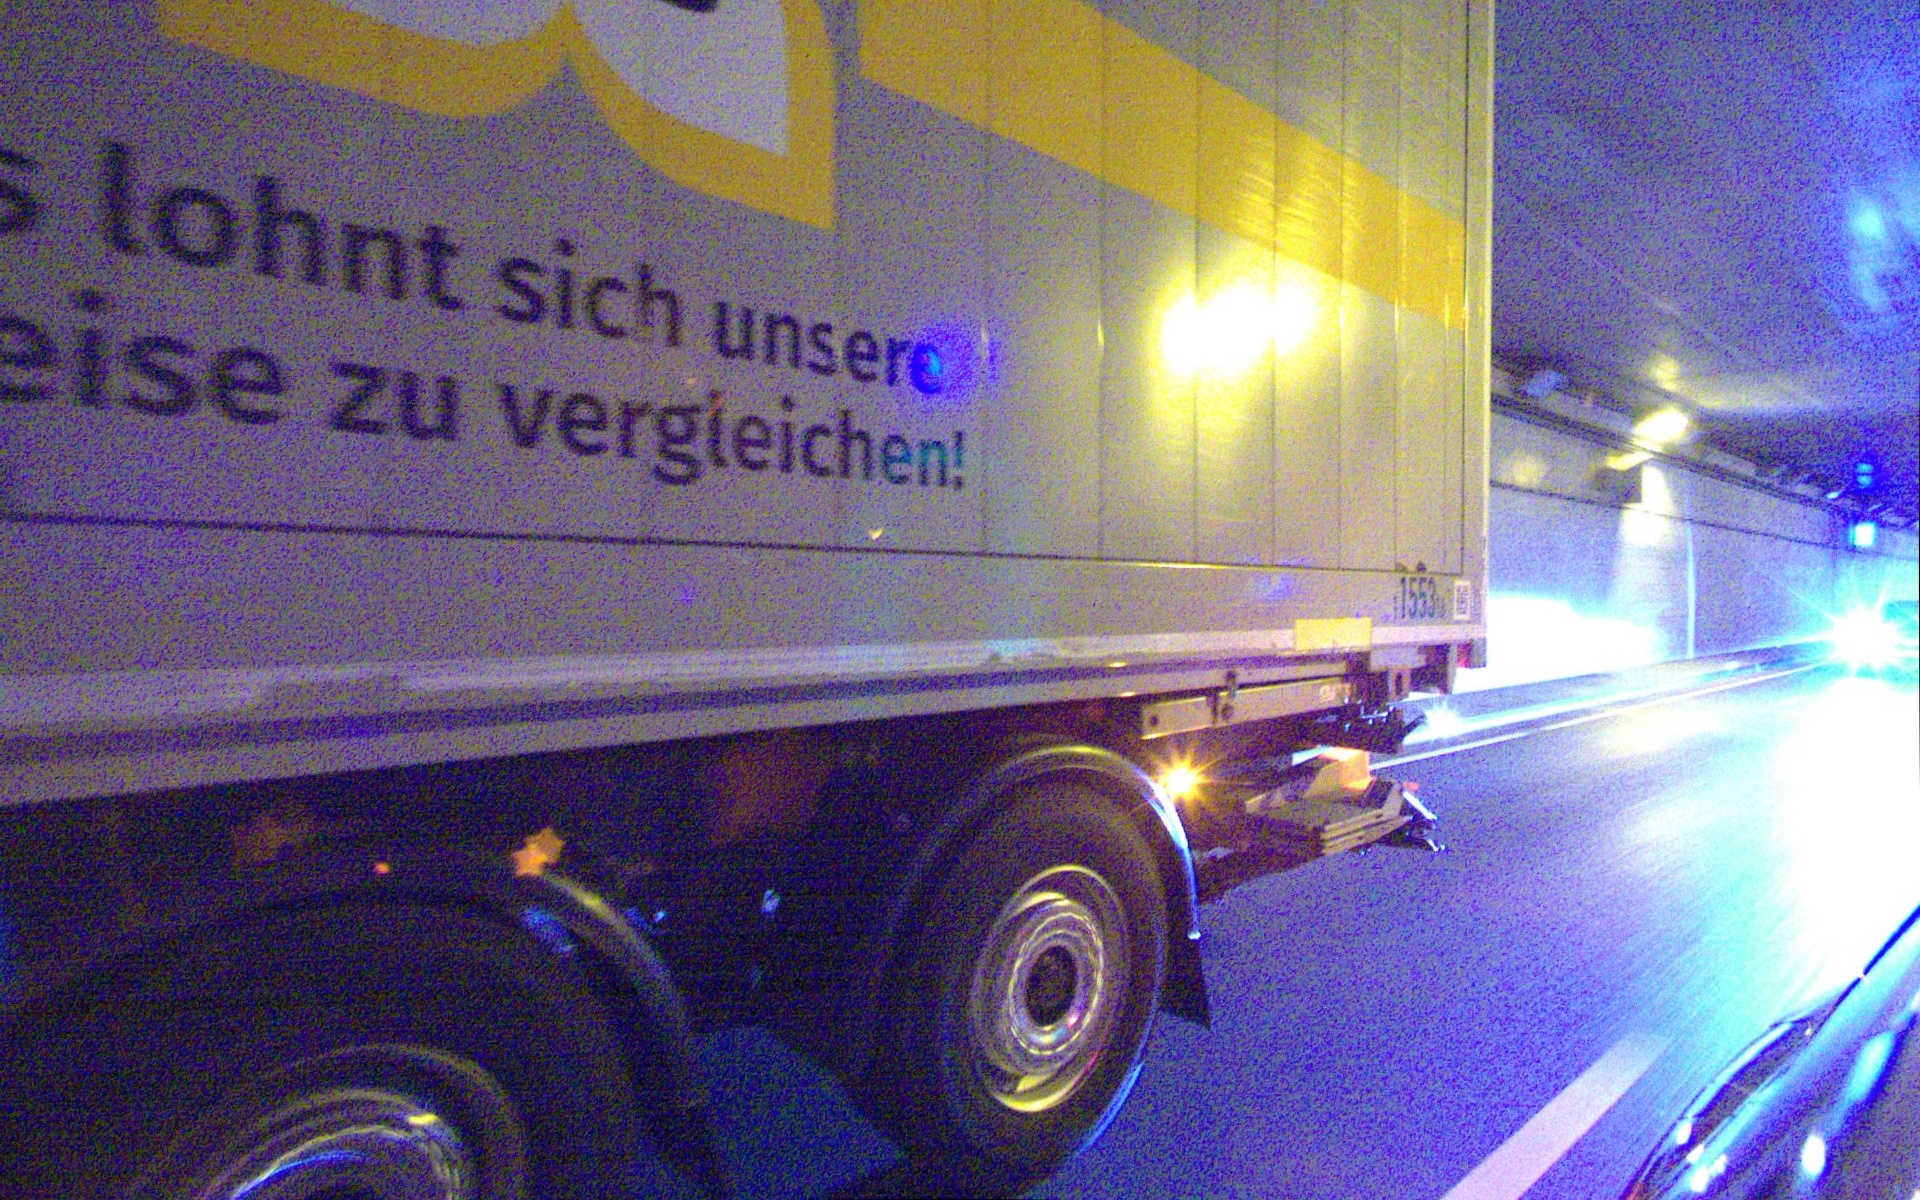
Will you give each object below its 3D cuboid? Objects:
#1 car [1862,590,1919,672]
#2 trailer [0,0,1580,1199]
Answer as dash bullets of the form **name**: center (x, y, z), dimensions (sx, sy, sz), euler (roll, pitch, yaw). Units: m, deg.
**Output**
- **car**: center (18.512, 0.544, 19.138), dimensions (3.733, 1.420, 1.733), euler (-1, 1, -41)
- **trailer**: center (-1.770, -0.607, 2.312), dimensions (8.790, 3.907, 2.881), euler (0, 1, -41)
